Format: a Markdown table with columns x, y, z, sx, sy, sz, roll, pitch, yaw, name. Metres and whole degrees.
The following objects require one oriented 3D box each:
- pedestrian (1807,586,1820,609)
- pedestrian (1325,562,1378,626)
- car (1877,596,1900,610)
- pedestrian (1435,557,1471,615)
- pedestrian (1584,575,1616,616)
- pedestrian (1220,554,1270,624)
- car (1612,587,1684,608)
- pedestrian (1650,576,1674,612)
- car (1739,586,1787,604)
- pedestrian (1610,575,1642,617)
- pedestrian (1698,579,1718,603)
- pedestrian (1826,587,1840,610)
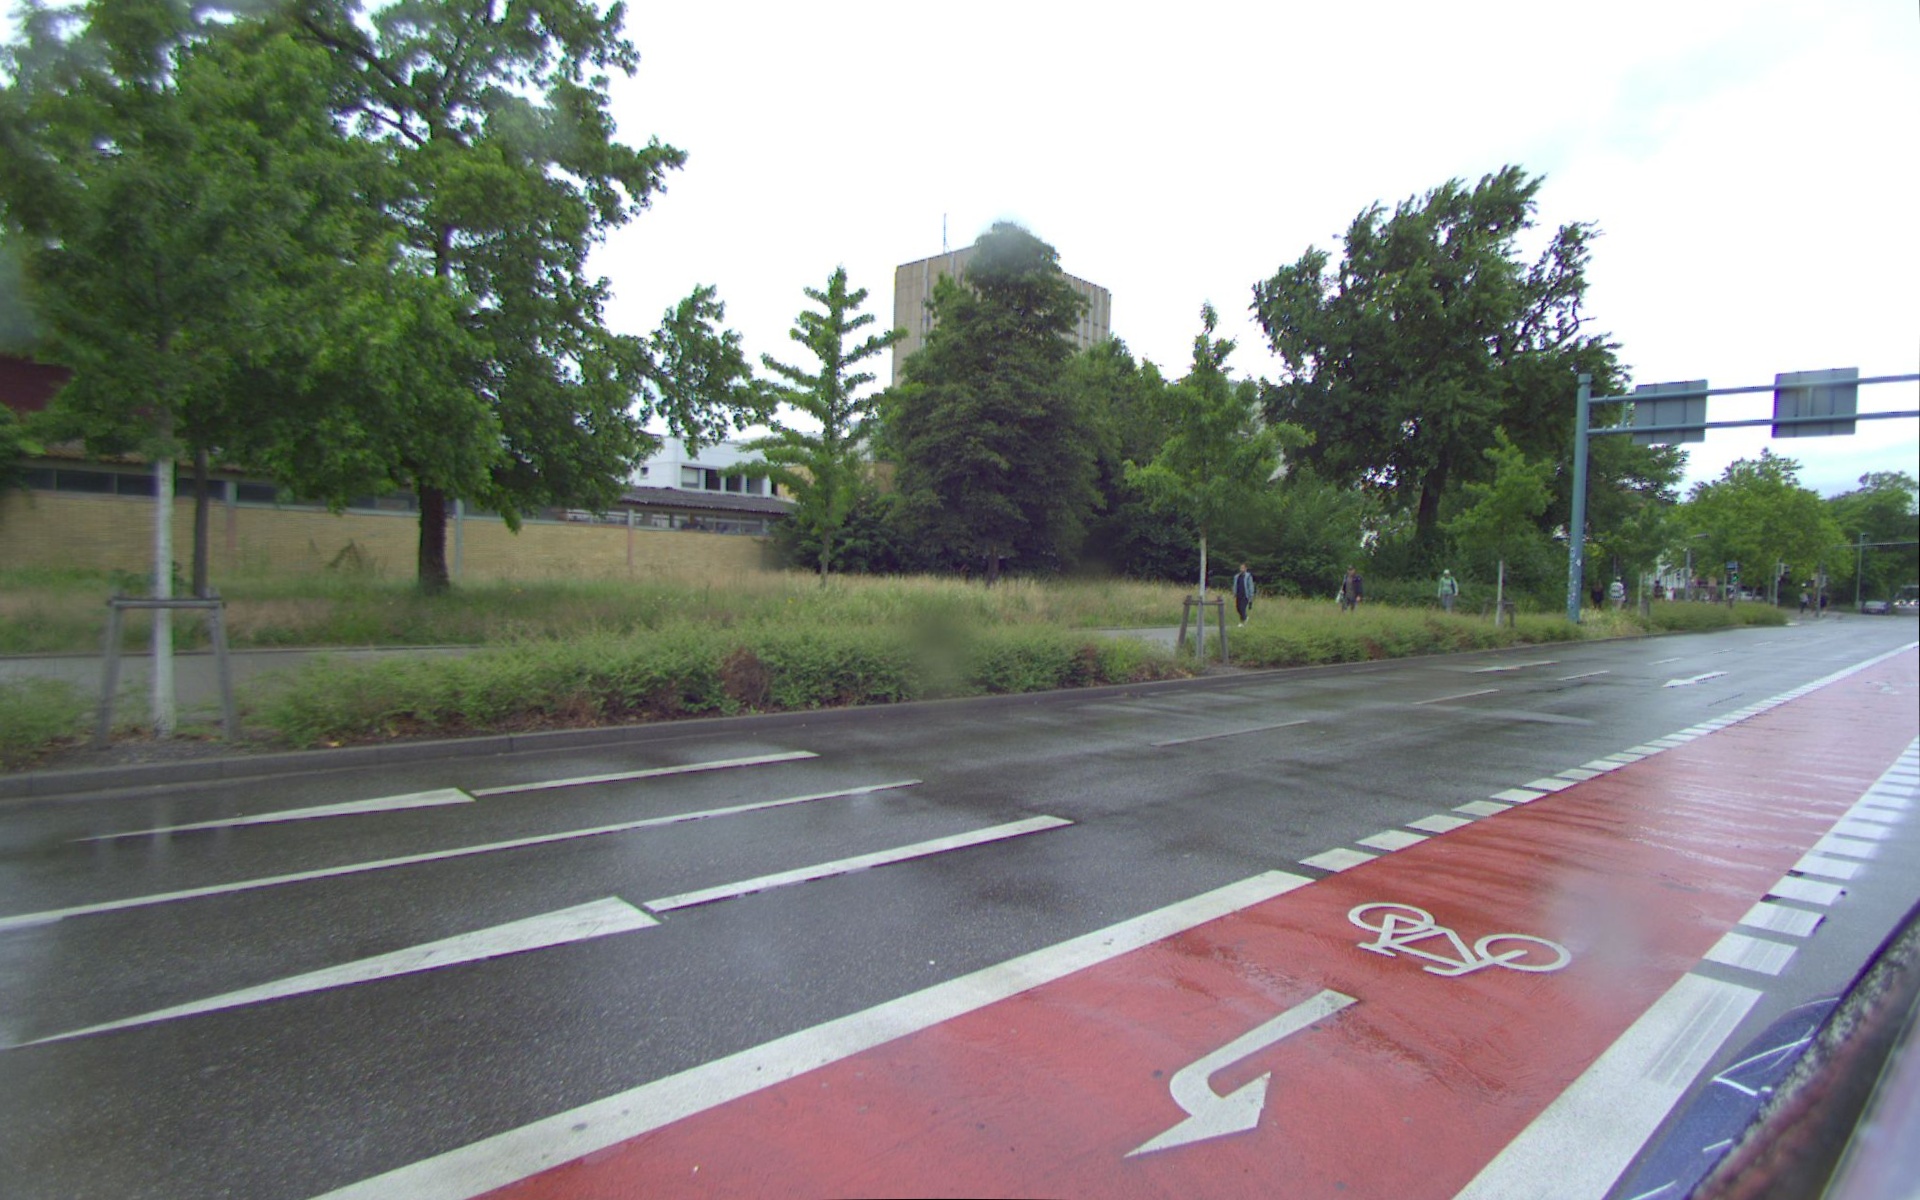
| x | y | z | sx | sy | sz | roll | pitch | yaw | name |
| --- | --- | --- | --- | --- | --- | --- | --- | --- | --- |
| 68.606 | -0.191 | 81.387 | 0.620 | 1.847 | 0.778 | 3 | 1 | 32 | pedestrian |
| 11.124 | -0.181 | 28.750 | 1.026 | 1.769 | 0.936 | 1 | 2 | -37 | pedestrian |
| 96.291 | 0.290 | 104.954 | 1.657 | 1.282 | 4.041 | 3 | 2 | 44 | car |
| 17.489 | -0.501 | 35.882 | 0.813 | 2.038 | 0.793 | 1 | 2 | -37 | pedestrian |
| 27.988 | -0.195 | 44.256 | 0.813 | 1.725 | 0.935 | 4 | -2 | -39 | pedestrian |
| 7.594 | -0.296 | 26.992 | 0.813 | 1.819 | 0.936 | 1 | 2 | -37 | pedestrian |
| 53.227 | -0.223 | 78.359 | 4.376 | 1.353 | 1.746 | 3 | 5 | 43 | car |
| 37.235 | -0.304 | 53.665 | 0.835 | 1.882 | 0.732 | 1 | 2 | -37 | pedestrian |
| 97.583 | -0.628 | 123.028 | 4.406 | 1.896 | 1.615 | 3 | 2 | 39 | car |
| 28.478 | -0.165 | 43.276 | 0.813 | 1.743 | 0.935 | 4 | -2 | -39 | pedestrian |
| 51.647 | -0.649 | 69.846 | 0.868 | 1.627 | 0.856 | 2 | 1 | 24 | pedestrian |
| 69.899 | -0.142 | 81.040 | 0.618 | 1.847 | 0.780 | 2 | 1 | 24 | pedestrian |
